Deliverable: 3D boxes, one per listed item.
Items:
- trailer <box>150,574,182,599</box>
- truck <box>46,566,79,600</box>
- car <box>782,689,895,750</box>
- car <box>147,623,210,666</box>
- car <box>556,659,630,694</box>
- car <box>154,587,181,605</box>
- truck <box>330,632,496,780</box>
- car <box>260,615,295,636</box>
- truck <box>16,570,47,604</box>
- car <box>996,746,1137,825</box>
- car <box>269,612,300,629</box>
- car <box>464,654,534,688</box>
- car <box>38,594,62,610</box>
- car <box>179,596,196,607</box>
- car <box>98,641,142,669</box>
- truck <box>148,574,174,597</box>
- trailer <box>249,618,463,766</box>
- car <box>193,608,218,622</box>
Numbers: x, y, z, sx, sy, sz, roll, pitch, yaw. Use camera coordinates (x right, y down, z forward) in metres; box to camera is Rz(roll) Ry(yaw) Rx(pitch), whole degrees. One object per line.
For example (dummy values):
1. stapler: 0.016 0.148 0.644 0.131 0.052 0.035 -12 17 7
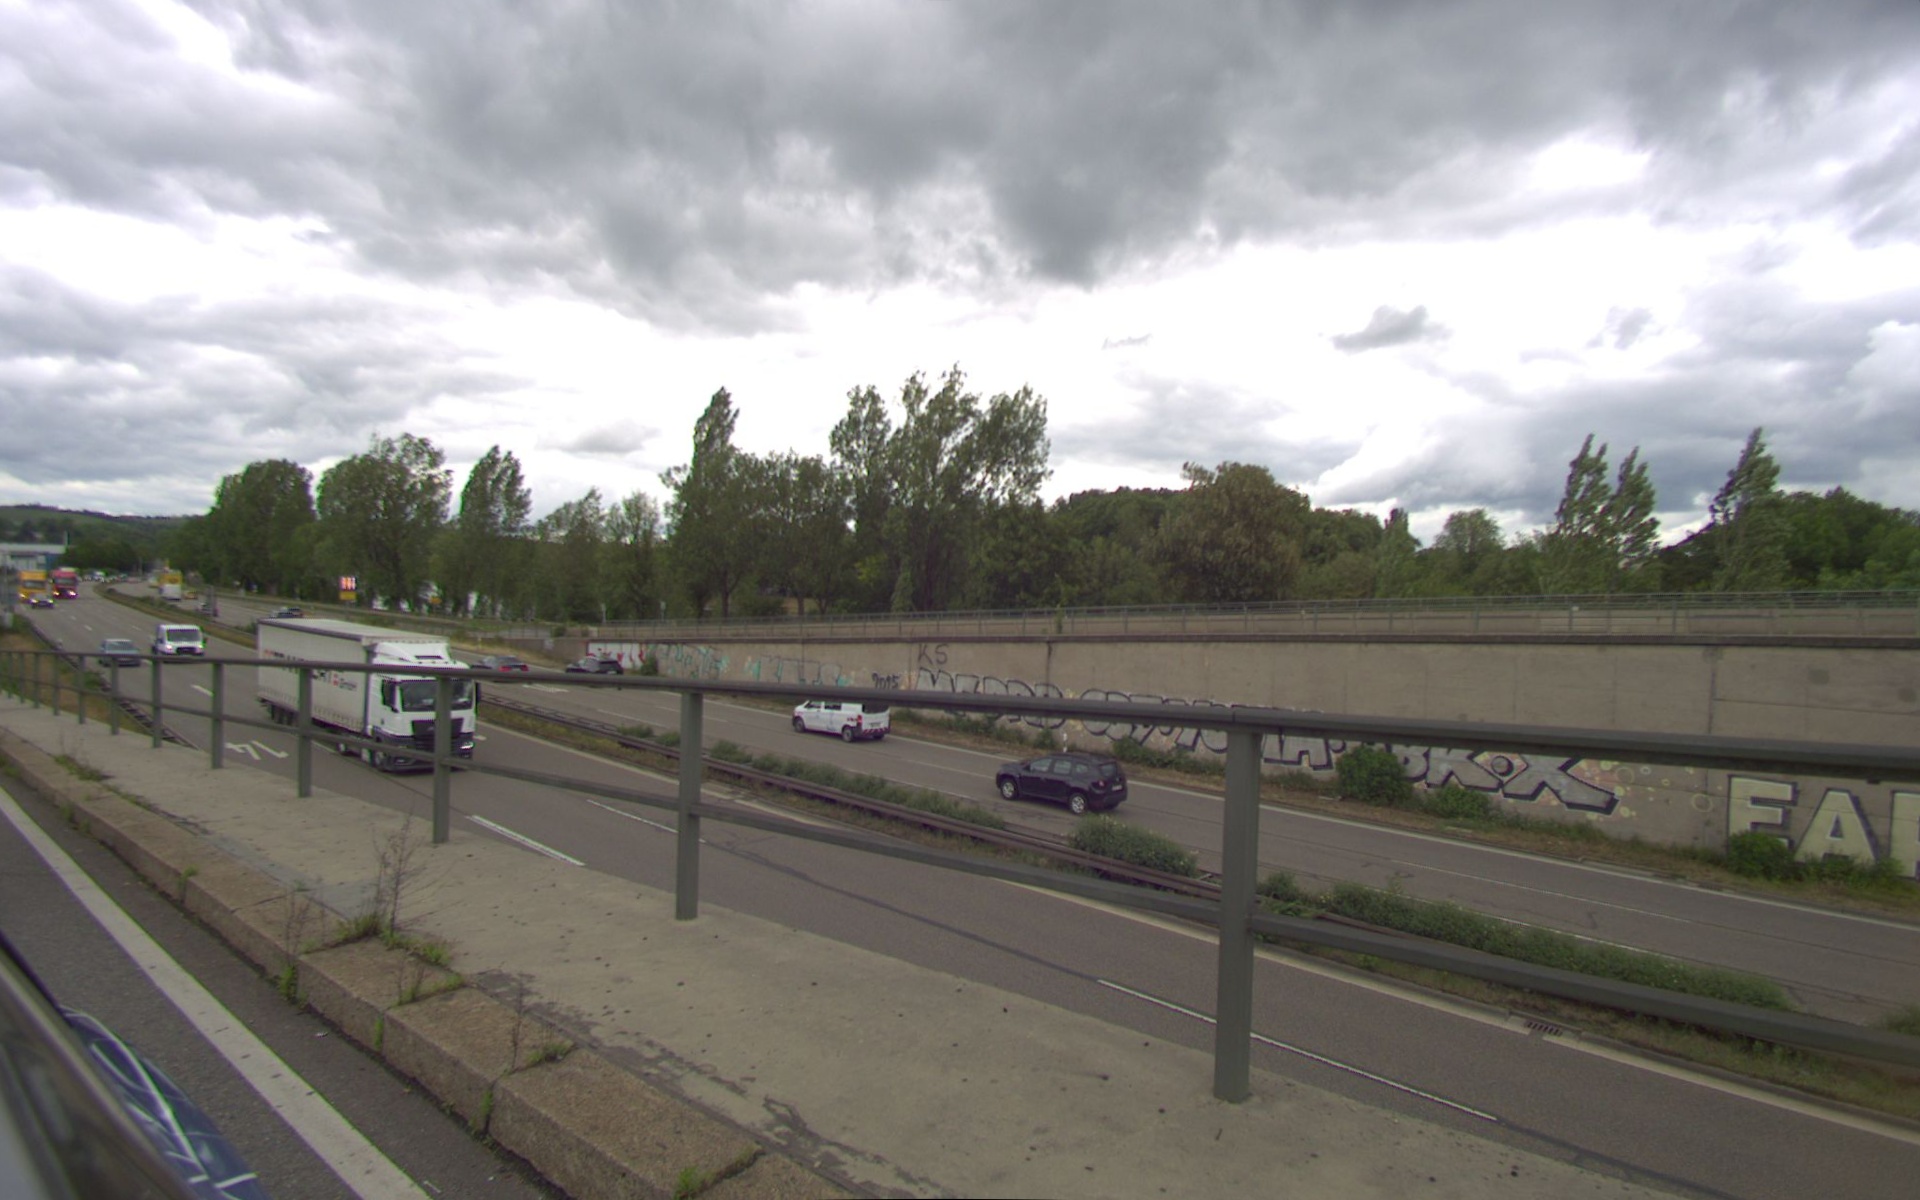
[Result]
1. trailer: -149.553 -2.653 190.604 3.203 4.294 13.691 2 0 -44
2. truck: -132.500 -2.568 149.343 9.922 4.774 2.717 2 -2 44
3. car: -5.185 4.981 42.888 4.908 1.922 1.927 2 0 41
4. car: -48.802 2.714 63.155 6.502 2.259 2.076 3 0 43
5. car: -21.248 4.357 58.529 4.577 1.638 1.973 2 -1 41
6. car: -120.626 -0.617 154.054 6.101 2.613 2.144 2 0 42
7. truck: -18.154 3.298 33.453 5.874 4.140 2.970 2 0 43
8. car: -65.606 2.437 97.319 4.183 1.731 1.861 2 0 43
9. truck: -120.259 -1.713 131.023 8.175 4.153 2.382 3 1 44
10. car: 3.182 5.536 30.661 3.998 1.633 1.648 2 0 41
11. car: -72.582 2.205 108.729 4.636 1.664 1.839 2 0 45
12. car: -26.866 4.079 58.896 4.577 1.638 1.973 2 -1 41
13. car: -104.026 0.255 115.689 4.002 1.679 1.786 2 1 44
14. car: -126.679 0.198 165.981 3.775 1.664 1.640 2 0 45
15. car: -48.922 3.184 58.913 3.538 1.383 1.492 3 0 43
16. truck: -154.325 -2.865 195.476 3.203 4.213 5.808 2 0 -45
17. trailer: -23.146 3.070 38.143 13.990 4.140 2.970 2 0 43
18. car: -82.512 1.636 110.639 1.694 1.464 3.654 2 1 -44
